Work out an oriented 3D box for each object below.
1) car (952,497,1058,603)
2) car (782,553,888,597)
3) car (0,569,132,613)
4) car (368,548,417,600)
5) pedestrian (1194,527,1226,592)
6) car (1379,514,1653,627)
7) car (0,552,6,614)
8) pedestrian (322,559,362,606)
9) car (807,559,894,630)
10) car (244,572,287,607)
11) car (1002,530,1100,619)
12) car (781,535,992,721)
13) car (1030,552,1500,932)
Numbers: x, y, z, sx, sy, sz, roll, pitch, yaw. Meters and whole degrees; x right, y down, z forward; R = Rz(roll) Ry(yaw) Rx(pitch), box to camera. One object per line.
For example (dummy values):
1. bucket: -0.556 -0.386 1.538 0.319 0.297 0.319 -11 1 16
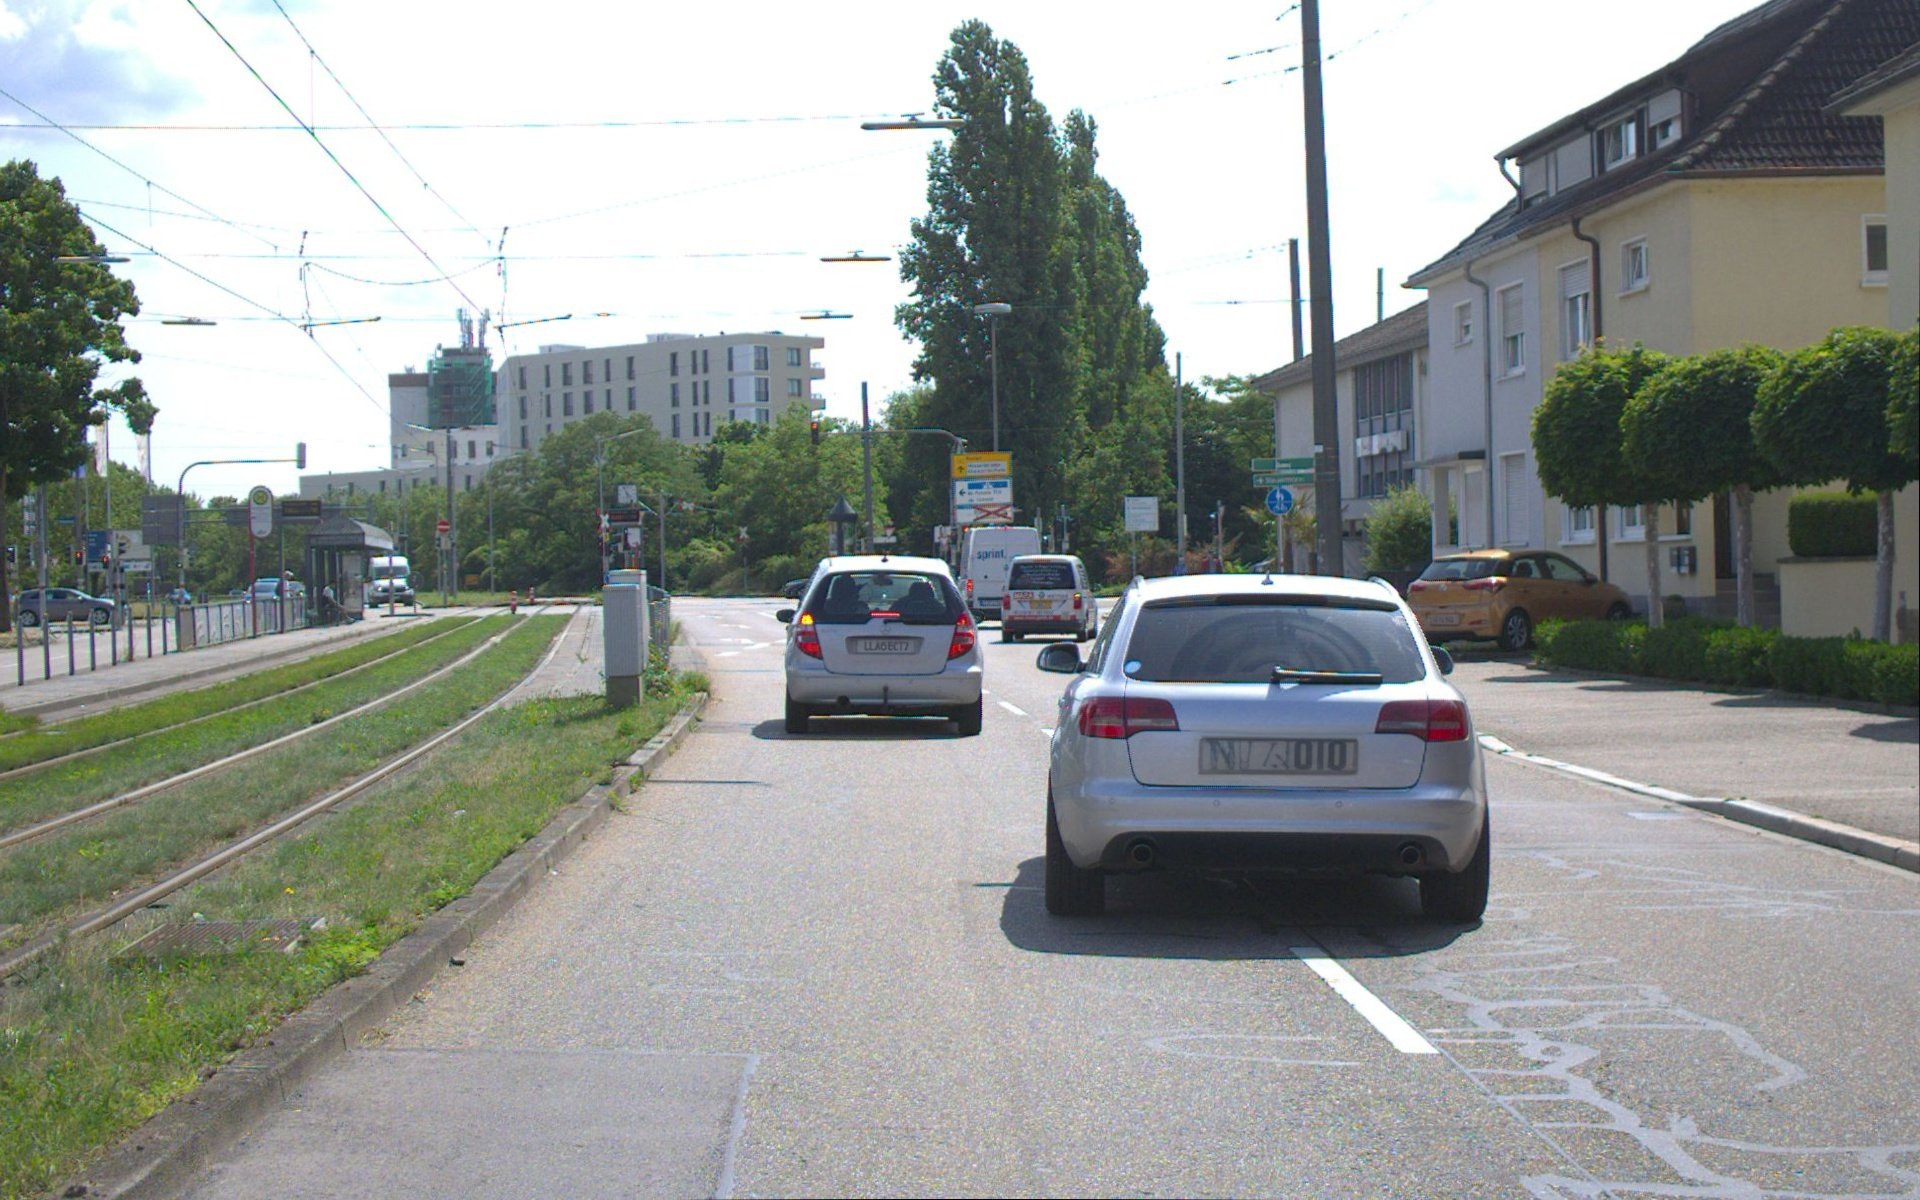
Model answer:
1. car: 1.090 -1.269 86.844 2.040 2.549 5.232 -1 1 -6
2. car: -5.229 -1.043 143.741 4.352 1.733 2.000 2 0 -2
3. car: -34.381 -0.339 131.669 4.862 1.654 2.000 0 0 -2
4. car: -28.866 -1.339 174.877 1.993 2.597 4.880 0 1 -15
5. pedestrian: 7.053 -1.147 97.004 0.721 1.776 0.703 -3 1 -3
6. car: 8.161 -0.460 50.274 1.915 1.453 4.083 1 4 45
7. car: -25.916 -0.411 88.791 2.059 1.608 4.755 -2 1 -11
8. pedestrian: -17.845 -0.506 99.292 1.058 1.371 0.860 0 0 -5
9. car: -2.445 -0.133 76.383 1.885 1.525 4.095 0 1 -2
10. car: -32.860 -0.500 162.693 1.862 1.645 4.001 0 1 -10
11. car: 1.902 -0.551 70.965 1.885 1.725 4.094 -1 1 3
12. car: -0.727 0.205 31.728 1.787 1.571 4.095 1 1 -3
13. car: 1.265 0.533 15.887 1.854 1.487 4.536 0 1 1
